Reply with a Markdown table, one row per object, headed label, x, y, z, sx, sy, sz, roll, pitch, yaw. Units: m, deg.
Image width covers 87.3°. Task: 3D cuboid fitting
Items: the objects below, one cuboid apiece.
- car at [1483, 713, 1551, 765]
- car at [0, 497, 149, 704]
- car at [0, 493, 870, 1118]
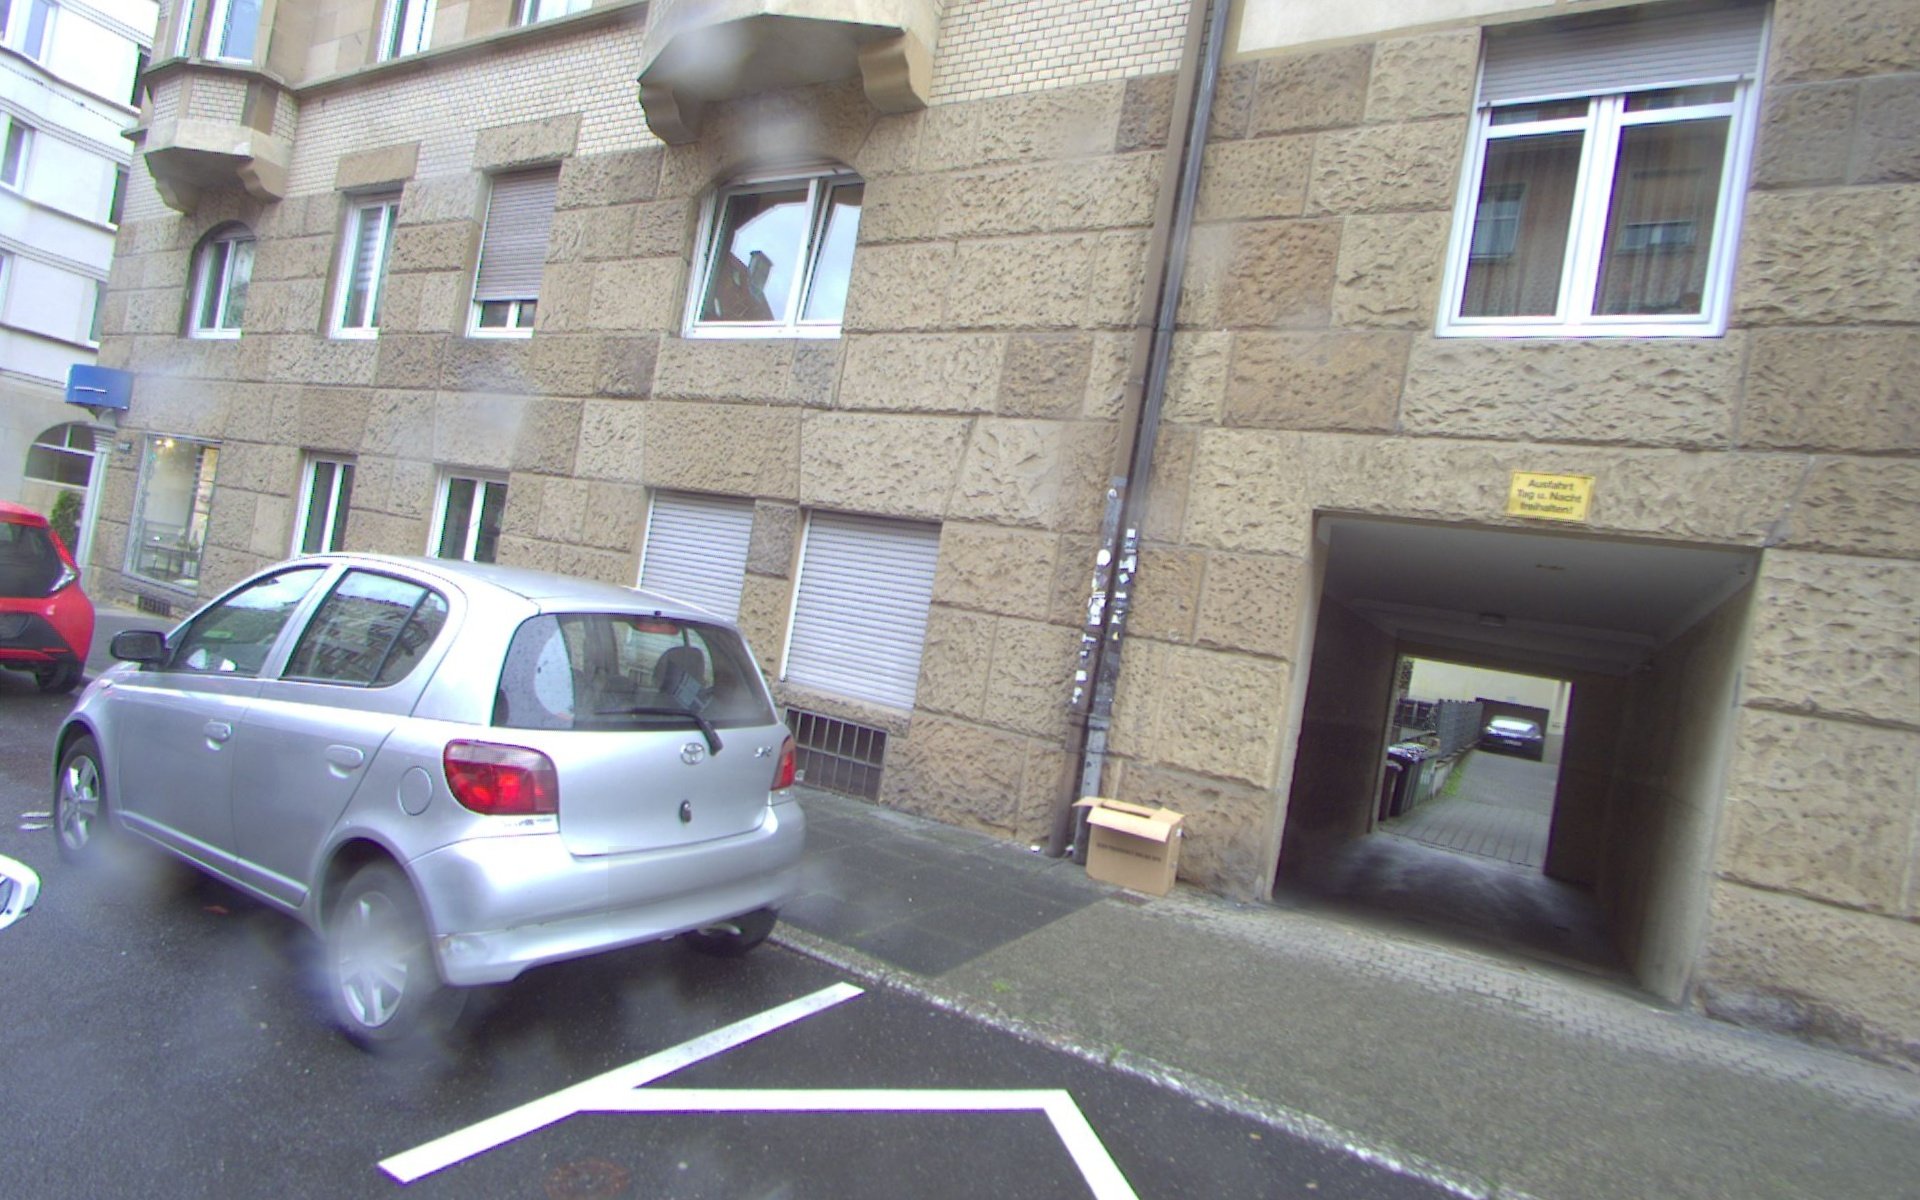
| label | x | y | z | sx | sy | sz | roll | pitch | yaw |
| --- | --- | --- | --- | --- | --- | --- | --- | --- | --- |
| car | 18.615 | 4.588 | 33.733 | 1.764 | 1.362 | 4.014 | 6 | -2 | 28 |
| car | -8.462 | -0.185 | 8.090 | 3.472 | 1.469 | 1.711 | 7 | -3 | 29 |
| car | -2.319 | 0.517 | 4.247 | 3.464 | 1.504 | 1.597 | 7 | -1 | 32 |
